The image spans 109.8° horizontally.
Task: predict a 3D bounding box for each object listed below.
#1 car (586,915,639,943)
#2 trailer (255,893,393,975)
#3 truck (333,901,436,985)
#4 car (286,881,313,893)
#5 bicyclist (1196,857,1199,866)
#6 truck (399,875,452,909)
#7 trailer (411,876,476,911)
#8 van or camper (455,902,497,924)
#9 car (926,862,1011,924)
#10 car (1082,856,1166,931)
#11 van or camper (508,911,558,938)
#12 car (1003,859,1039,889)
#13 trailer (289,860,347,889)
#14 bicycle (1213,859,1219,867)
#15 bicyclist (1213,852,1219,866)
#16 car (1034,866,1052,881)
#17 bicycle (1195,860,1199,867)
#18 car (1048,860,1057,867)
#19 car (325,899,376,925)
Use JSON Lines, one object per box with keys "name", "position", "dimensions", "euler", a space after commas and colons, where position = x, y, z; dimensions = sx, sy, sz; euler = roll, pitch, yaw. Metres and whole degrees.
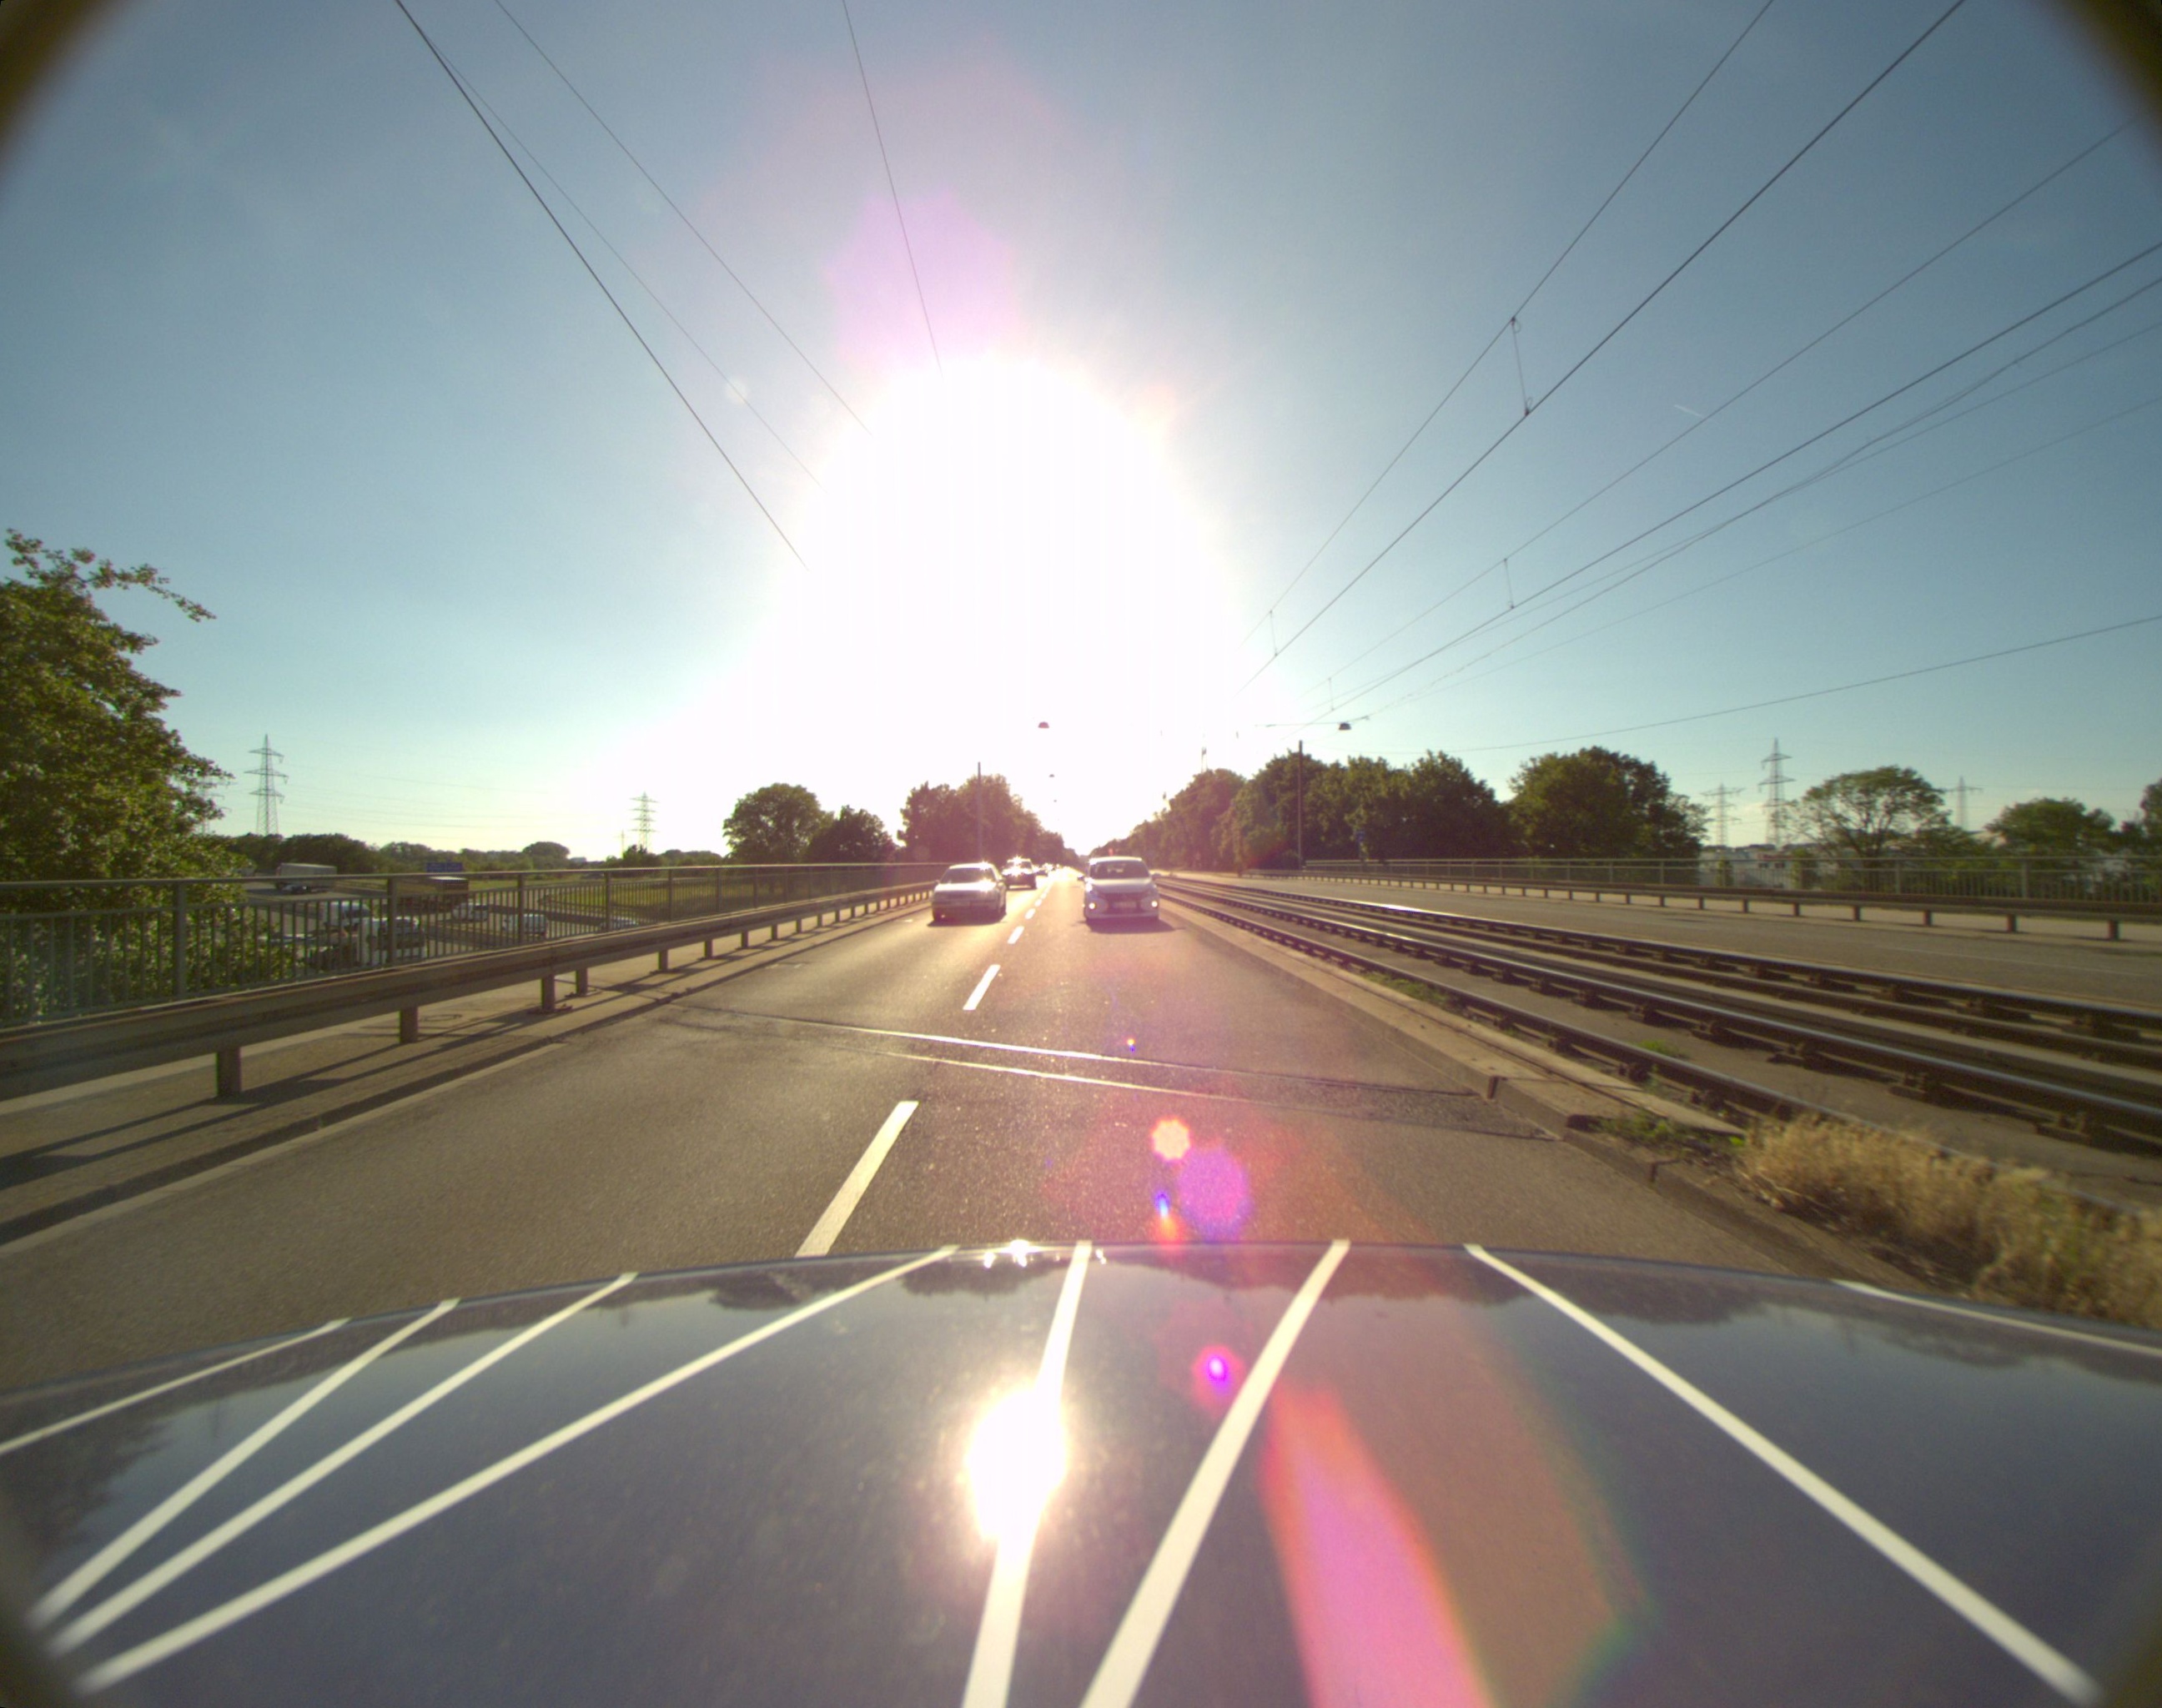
{"name": "car", "position": [-42.026, 6.703, 68.117], "dimensions": [4.800, 1.955, 1.998], "euler": [2, 2, 31]}
{"name": "trailer", "position": [-54.430, 5.442, 54.380], "dimensions": [16.930, 4.561, 2.737], "euler": [1, 2, 31]}
{"name": "truck", "position": [-44.523, 5.533, 48.520], "dimensions": [7.211, 4.586, 2.739], "euler": [1, 2, 31]}
{"name": "car", "position": [-113.542, 4.778, 110.412], "dimensions": [4.054, 1.507, 1.891], "euler": [1, 2, 32]}
{"name": "bicyclist", "position": [18.151, 1.129, 118.580], "dimensions": [0.423, 1.420, 0.755], "euler": [-2, 1, 5]}
{"name": "truck", "position": [-84.317, 4.838, 97.724], "dimensions": [6.587, 3.861, 3.060], "euler": [1, 3, 30]}
{"name": "trailer", "position": [-79.762, 4.888, 95.075], "dimensions": [9.346, 3.834, 3.060], "euler": [1, 3, 30]}
{"name": "van or camper", "position": [-66.214, 6.448, 83.189], "dimensions": [4.800, 1.955, 1.998], "euler": [2, 2, 31]}
{"name": "car", "position": [-2.994, 0.996, 20.961], "dimensions": [1.693, 1.409, 4.134], "euler": [-2, 0, 0]}
{"name": "car", "position": [0.915, 0.839, 17.990], "dimensions": [1.709, 1.503, 3.862], "euler": [-2, 0, 0]}
{"name": "van or camper", "position": [-50.488, 6.478, 69.992], "dimensions": [4.800, 1.955, 1.998], "euler": [2, 2, 31]}
{"name": "car", "position": [-3.370, 1.087, 43.109], "dimensions": [1.709, 1.512, 3.844], "euler": [-2, 0, 0]}
{"name": "trailer", "position": [-118.335, 3.177, 117.766], "dimensions": [11.520, 4.248, 3.315], "euler": [1, -1, 30]}
{"name": "bicycle", "position": [17.675, 1.203, 99.392], "dimensions": [0.505, 1.046, 1.727], "euler": [-2, 1, -1]}
{"name": "bicyclist", "position": [17.649, 0.648, 99.438], "dimensions": [0.498, 1.741, 0.833], "euler": [-2, 1, -1]}
{"name": "car", "position": [-4.375, 2.219, 88.540], "dimensions": [1.905, 1.512, 3.956], "euler": [-2, 0, 0]}
{"name": "bicycle", "position": [18.165, 1.452, 118.680], "dimensions": [0.426, 0.958, 1.913], "euler": [-2, 1, 5]}
{"name": "car", "position": [-6.098, 2.041, 164.254], "dimensions": [1.905, 1.512, 3.956], "euler": [-2, 0, -1]}
{"name": "car", "position": [-68.383, 5.371, 71.115], "dimensions": [4.938, 1.955, 2.069], "euler": [1, 2, 29]}
